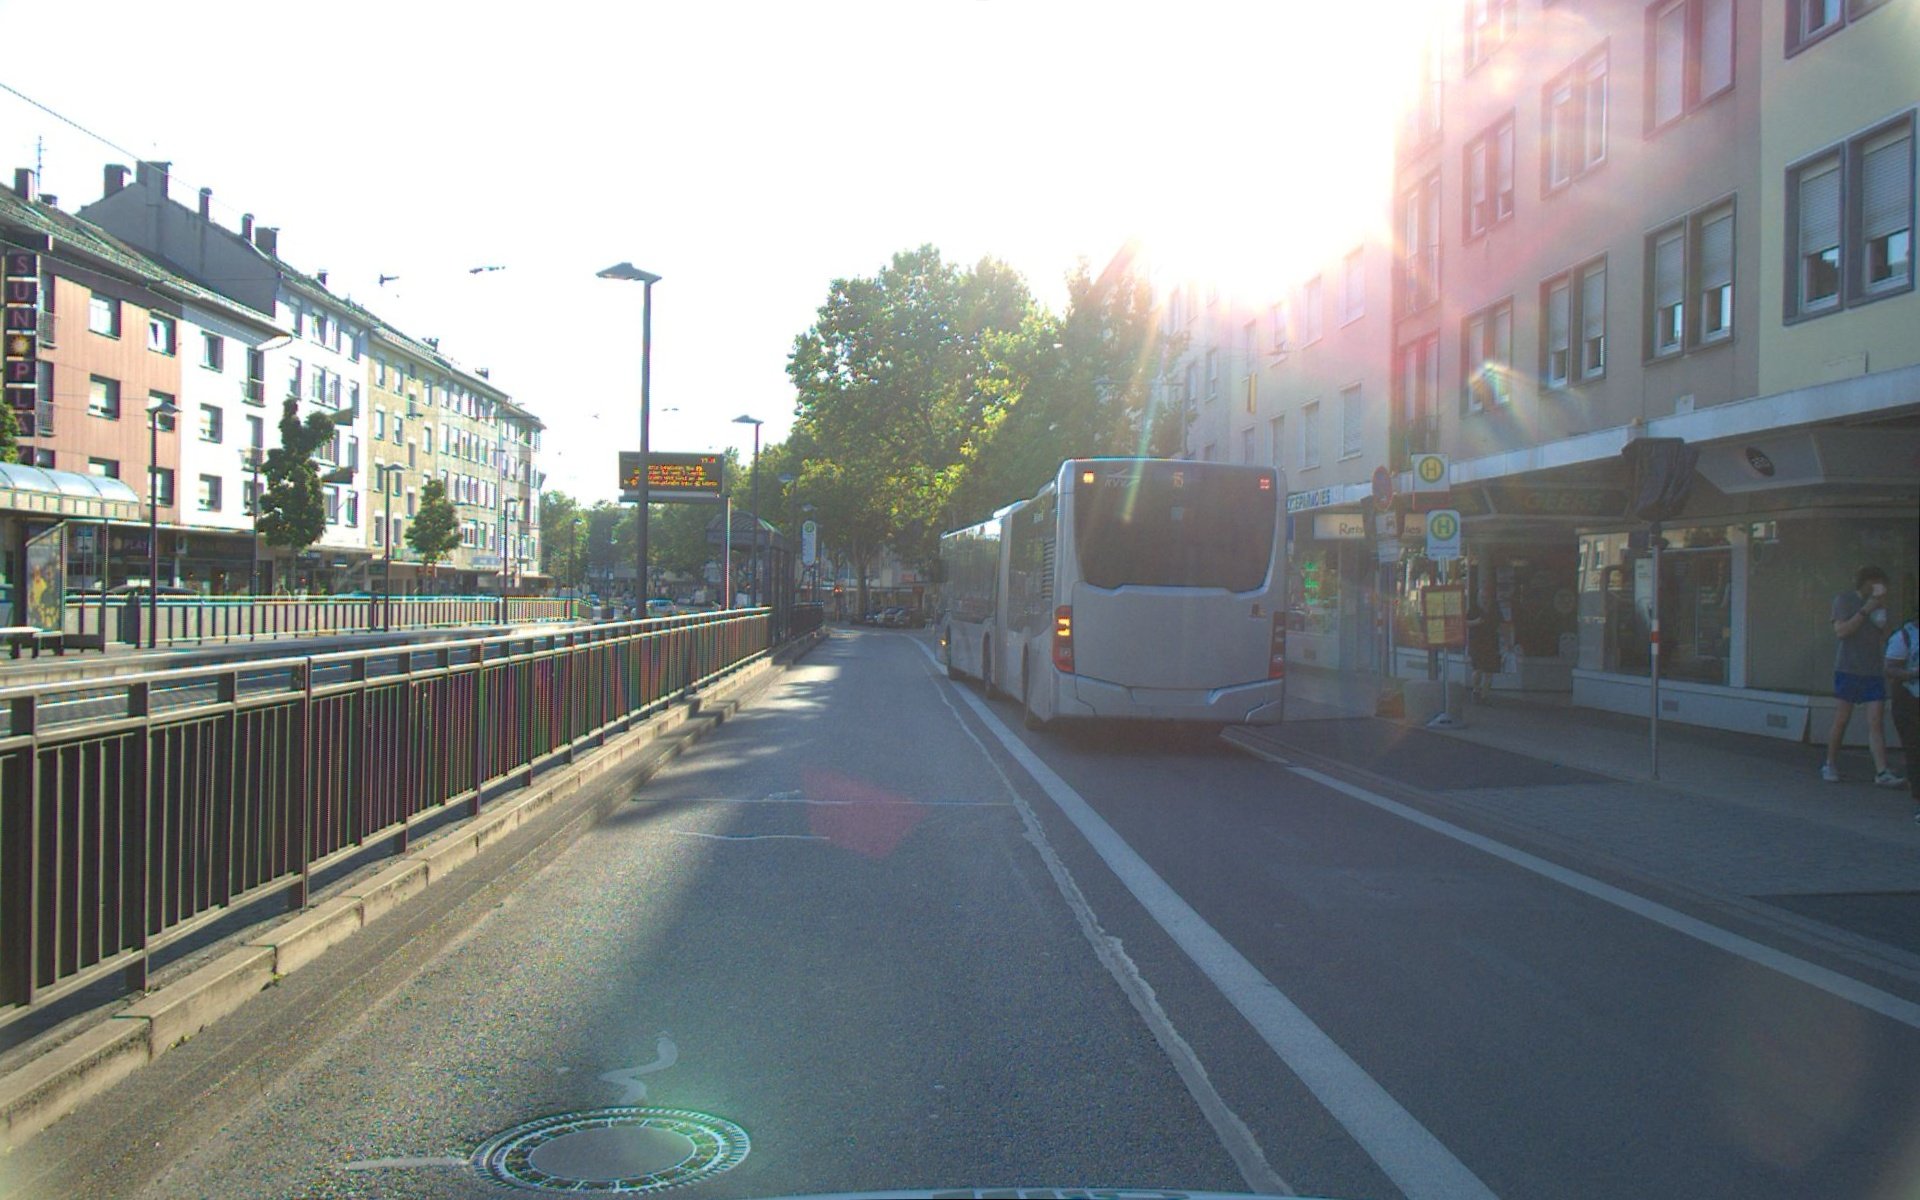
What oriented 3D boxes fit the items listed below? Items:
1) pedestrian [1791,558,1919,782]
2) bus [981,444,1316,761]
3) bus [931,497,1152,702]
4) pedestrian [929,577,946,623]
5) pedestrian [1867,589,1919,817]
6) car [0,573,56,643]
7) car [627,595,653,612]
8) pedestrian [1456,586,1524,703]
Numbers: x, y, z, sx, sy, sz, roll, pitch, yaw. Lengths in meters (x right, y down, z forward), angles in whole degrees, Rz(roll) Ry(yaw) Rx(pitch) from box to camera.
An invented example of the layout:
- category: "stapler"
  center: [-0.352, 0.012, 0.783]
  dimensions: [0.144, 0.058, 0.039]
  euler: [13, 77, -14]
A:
- category: "pedestrian"
  center: [7.718, 0.590, 14.248]
  dimensions: [0.709, 1.872, 0.766]
  euler: [0, 0, -3]
- category: "bus"
  center: [1.994, 0.016, 21.549]
  dimensions: [2.643, 3.172, 9.374]
  euler: [1, 0, -4]
- category: "bus"
  center: [1.226, -0.028, 30.633]
  dimensions: [2.645, 3.172, 9.058]
  euler: [1, 0, -6]
- category: "pedestrian"
  center: [-1.261, 0.021, 93.834]
  dimensions: [0.871, 2.591, 1.164]
  euler: [0, 0, 4]
- category: "pedestrian"
  center: [7.044, 0.725, 11.848]
  dimensions: [0.598, 1.606, 0.850]
  euler: [0, 0, -3]
- category: "car"
  center: [-24.236, 0.176, 40.283]
  dimensions: [1.736, 1.709, 3.497]
  euler: [1, 0, 36]
- category: "car"
  center: [-31.046, 0.327, 160.606]
  dimensions: [1.954, 1.680, 3.998]
  euler: [0, 0, -3]
- category: "pedestrian"
  center: [7.662, 0.632, 23.949]
  dimensions: [0.709, 1.661, 0.766]
  euler: [0, 0, -3]
